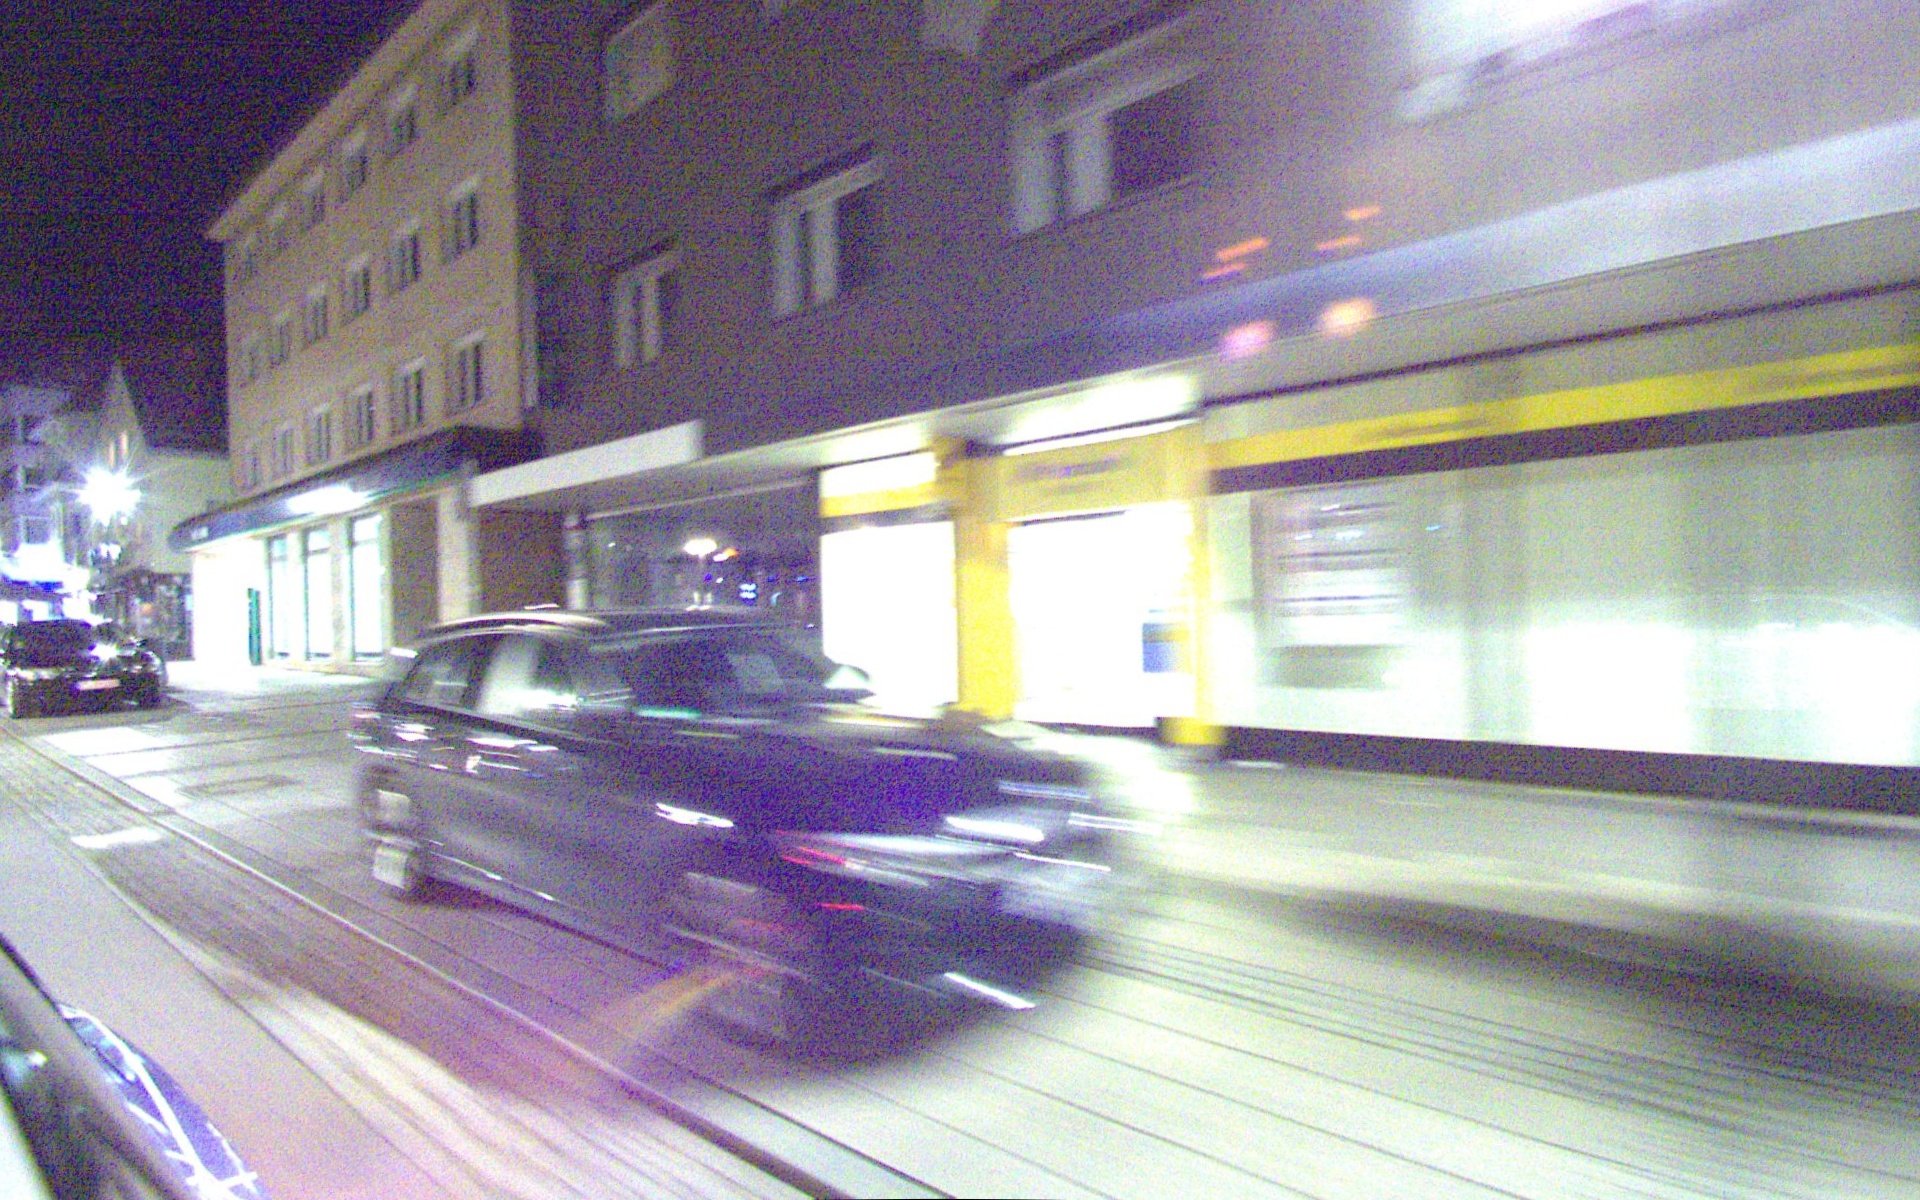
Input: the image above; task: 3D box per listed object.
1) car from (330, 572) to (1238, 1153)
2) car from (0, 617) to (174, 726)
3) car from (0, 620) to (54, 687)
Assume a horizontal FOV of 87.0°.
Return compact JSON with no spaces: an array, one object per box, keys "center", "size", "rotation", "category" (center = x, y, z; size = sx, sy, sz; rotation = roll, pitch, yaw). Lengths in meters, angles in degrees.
[{"center":[-1.133,0.693,4.703],"size":[4.318,1.489,1.779],"rotation":[-1,1,40],"category":"car"},{"center":[-14.801,1.081,16.653],"size":[4.616,1.475,1.828],"rotation":[-1,1,38],"category":"car"},{"center":[-23.670,1.276,24.480],"size":[4.519,1.481,1.881],"rotation":[-1,0,39],"category":"car"}]
